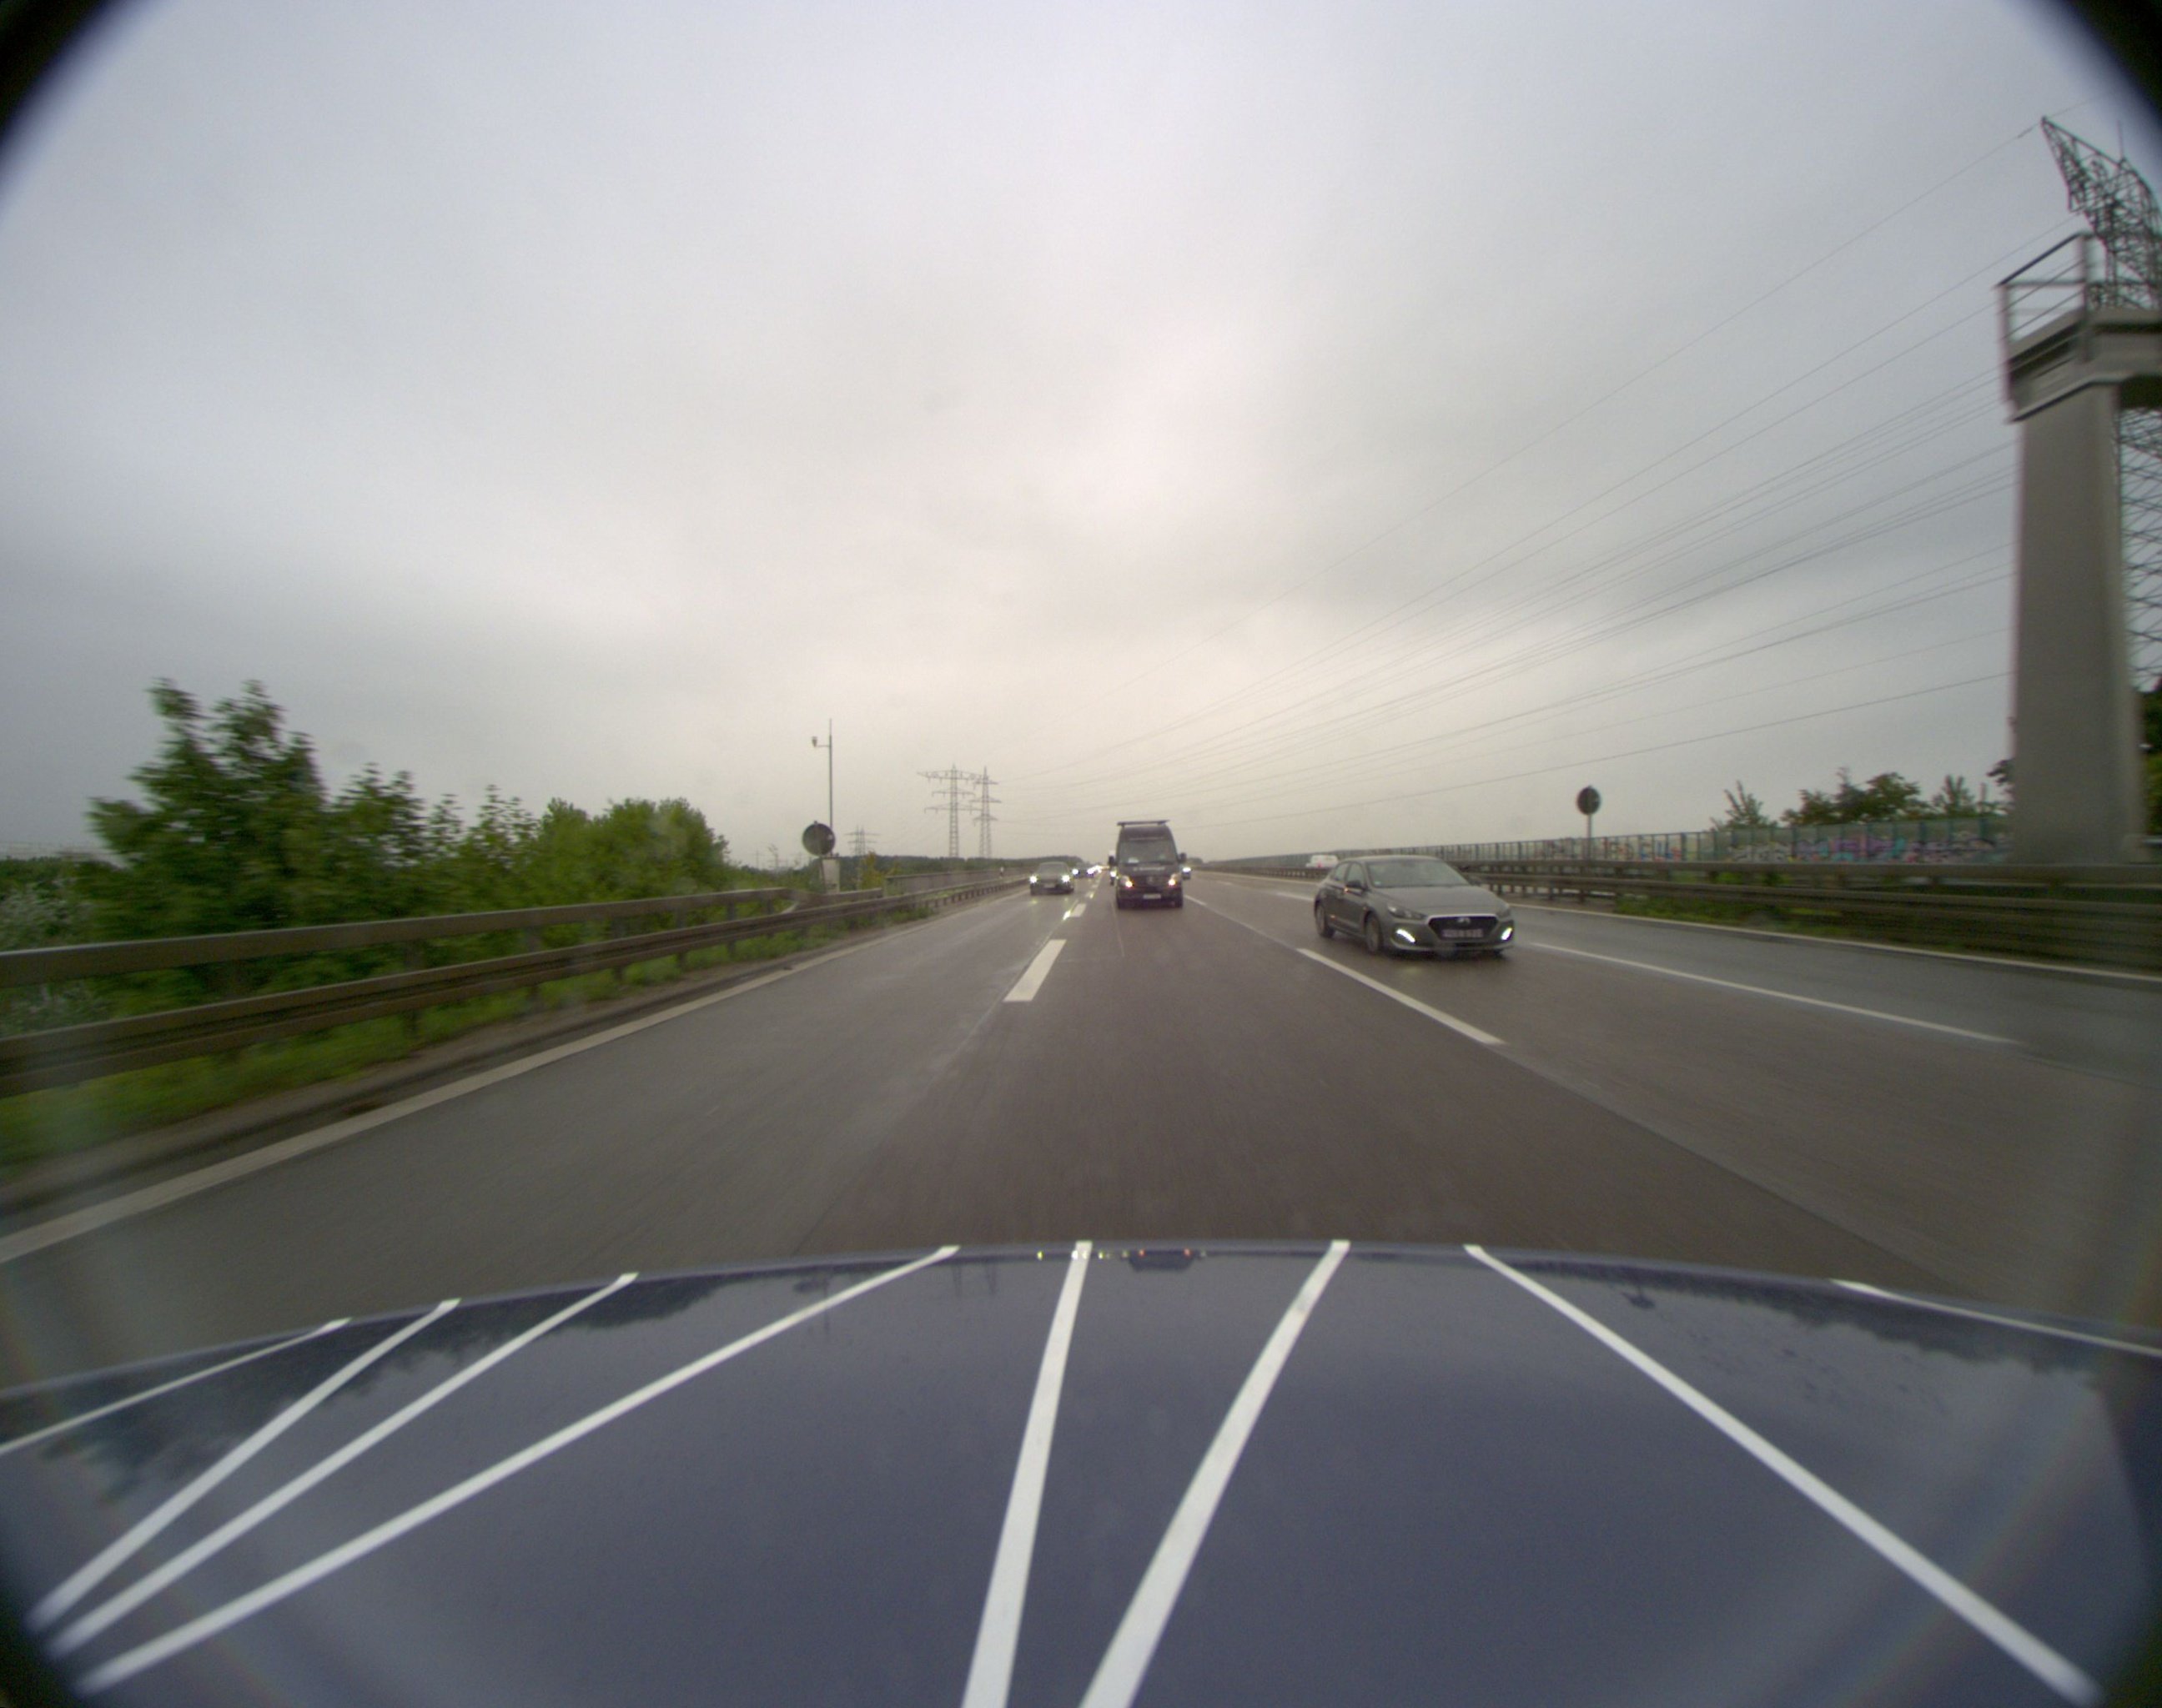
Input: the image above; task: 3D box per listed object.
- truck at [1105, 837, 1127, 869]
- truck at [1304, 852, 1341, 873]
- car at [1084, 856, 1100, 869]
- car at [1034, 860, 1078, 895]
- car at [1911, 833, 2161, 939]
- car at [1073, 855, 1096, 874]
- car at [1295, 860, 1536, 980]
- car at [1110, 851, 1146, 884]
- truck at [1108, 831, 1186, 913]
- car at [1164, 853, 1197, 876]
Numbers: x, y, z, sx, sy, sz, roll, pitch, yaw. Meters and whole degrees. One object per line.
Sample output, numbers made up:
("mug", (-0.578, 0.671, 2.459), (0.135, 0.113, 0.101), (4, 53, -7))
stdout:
("truck", (4.853, -0.024, 107.696), (2.703, 4.170, 8.927), (-3, -1, 1))
("truck", (23.174, 0.804, 73.159), (1.998, 1.919, 5.250), (-1, 0, 1))
("car", (1.484, 1.080, 98.484), (1.998, 1.706, 4.000), (0, 0, 2))
("car", (-1.147, 1.094, 37.029), (1.862, 1.531, 4.204), (-2, 0, 1))
("car", (20.968, 0.570, 16.205), (1.998, 1.920, 4.171), (-3, 0, 1))
("car", (0.354, 0.966, 71.262), (1.998, 1.706, 4.000), (0, 0, 2))
("car", (4.946, 0.866, 12.097), (1.729, 1.395, 4.828), (-2, 0, 1))
("car", (2.975, 0.878, 49.188), (1.998, 2.001, 4.786), (-2, -1, 1))
("truck", (1.994, 0.488, 24.797), (1.998, 2.324, 6.110), (-1, 1, 0))
("car", (7.274, 0.737, 55.833), (1.843, 1.585, 5.156), (-2, 0, 2))
